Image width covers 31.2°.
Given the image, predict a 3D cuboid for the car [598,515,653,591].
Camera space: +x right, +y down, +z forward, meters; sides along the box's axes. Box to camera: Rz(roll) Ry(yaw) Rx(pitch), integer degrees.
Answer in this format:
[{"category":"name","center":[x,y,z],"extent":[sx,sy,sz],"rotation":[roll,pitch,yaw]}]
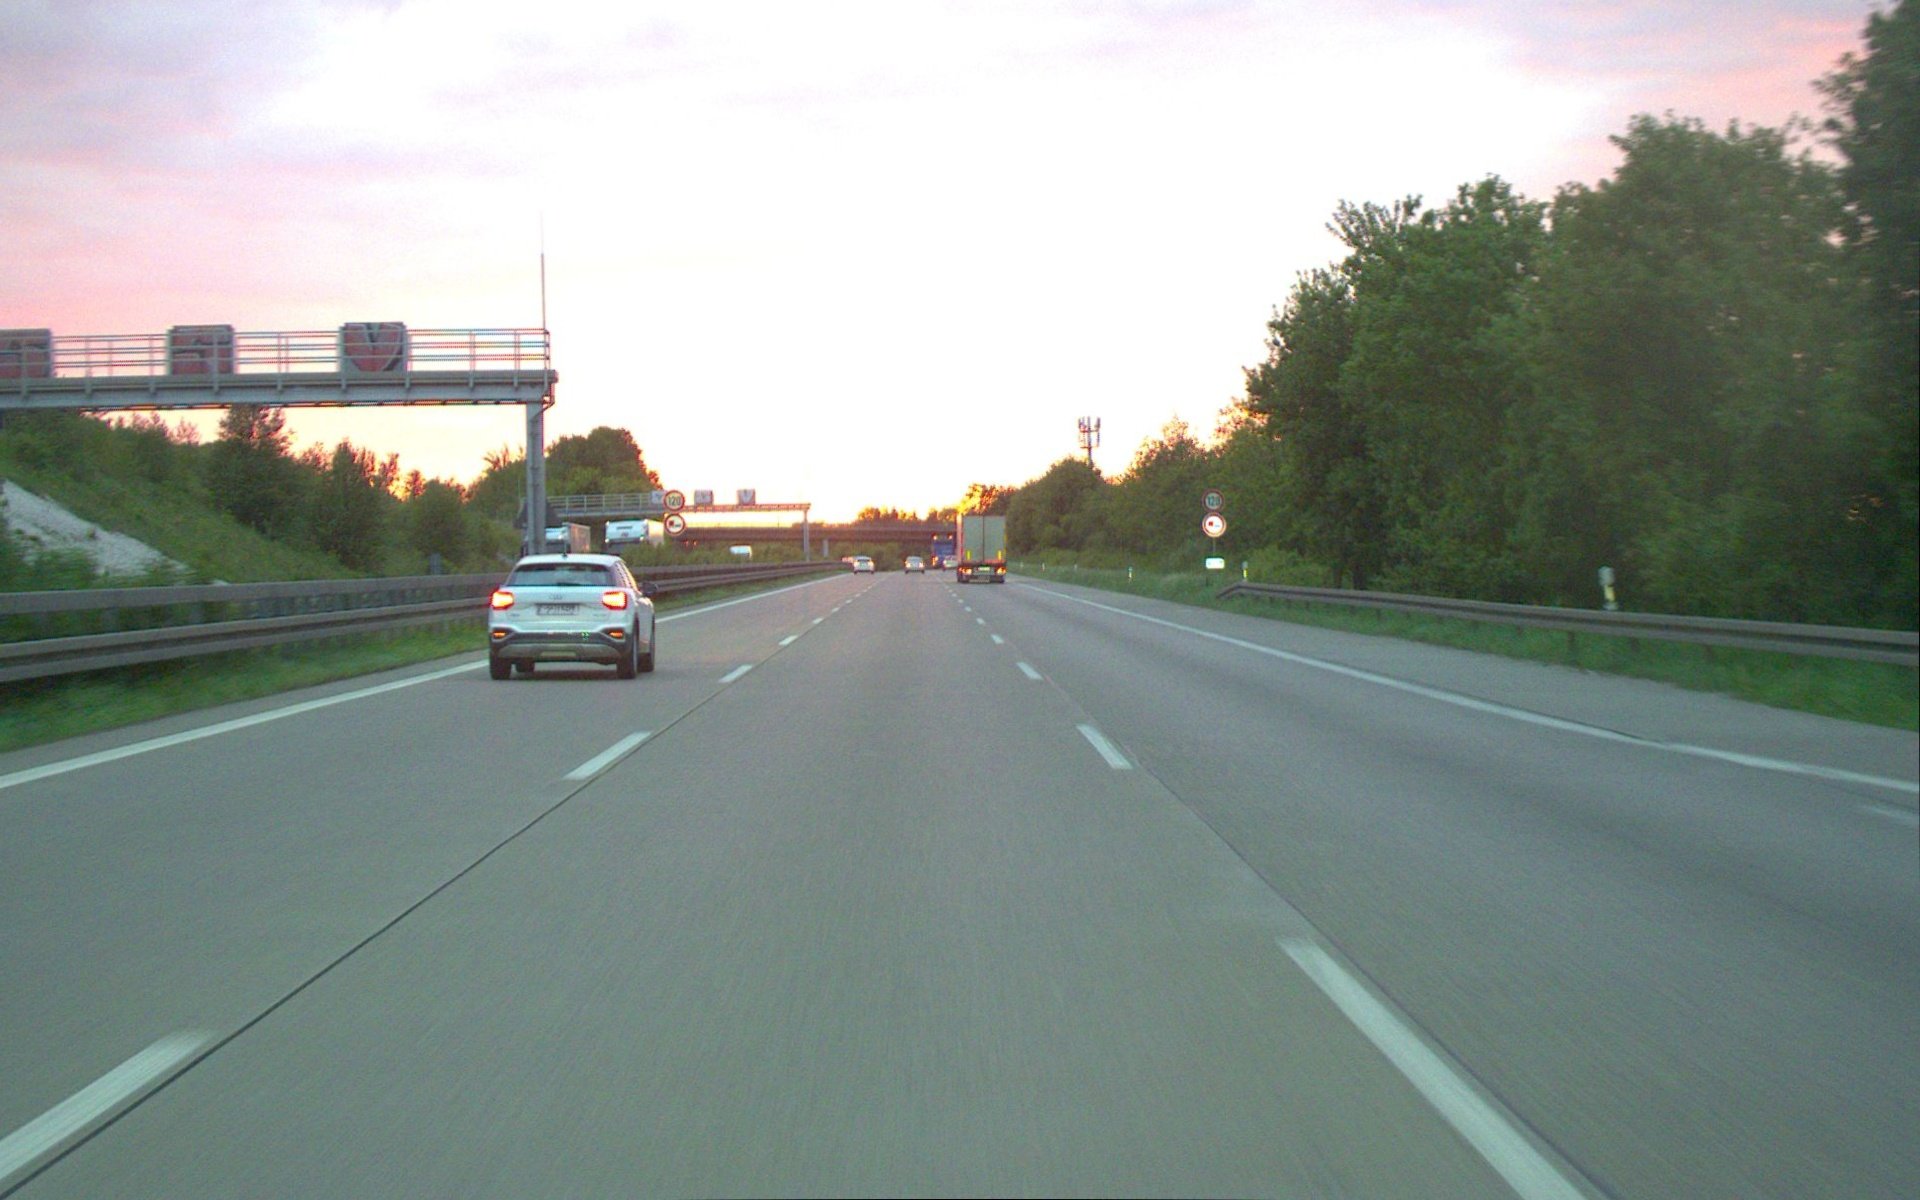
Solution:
[{"category":"car","center":[-20.168,-2.842,207.466],"extent":[2.798,4.472,5.930],"rotation":[-1,1,-1]}]

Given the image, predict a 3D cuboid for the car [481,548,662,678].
[{"category":"car","center":[-4.808,0.116,43.124],"extent":[1.789,1.495,5.038],"rotation":[0,1,-1]}]

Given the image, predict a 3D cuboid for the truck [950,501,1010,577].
[{"category":"truck","center":[1.179,-3.427,195.540],"extent":[3.244,4.113,9.786],"rotation":[-1,1,1]}]

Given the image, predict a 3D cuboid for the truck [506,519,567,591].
[{"category":"truck","center":[-25.205,-2.690,204.748],"extent":[2.856,4.196,5.864],"rotation":[-1,0,0]}]
